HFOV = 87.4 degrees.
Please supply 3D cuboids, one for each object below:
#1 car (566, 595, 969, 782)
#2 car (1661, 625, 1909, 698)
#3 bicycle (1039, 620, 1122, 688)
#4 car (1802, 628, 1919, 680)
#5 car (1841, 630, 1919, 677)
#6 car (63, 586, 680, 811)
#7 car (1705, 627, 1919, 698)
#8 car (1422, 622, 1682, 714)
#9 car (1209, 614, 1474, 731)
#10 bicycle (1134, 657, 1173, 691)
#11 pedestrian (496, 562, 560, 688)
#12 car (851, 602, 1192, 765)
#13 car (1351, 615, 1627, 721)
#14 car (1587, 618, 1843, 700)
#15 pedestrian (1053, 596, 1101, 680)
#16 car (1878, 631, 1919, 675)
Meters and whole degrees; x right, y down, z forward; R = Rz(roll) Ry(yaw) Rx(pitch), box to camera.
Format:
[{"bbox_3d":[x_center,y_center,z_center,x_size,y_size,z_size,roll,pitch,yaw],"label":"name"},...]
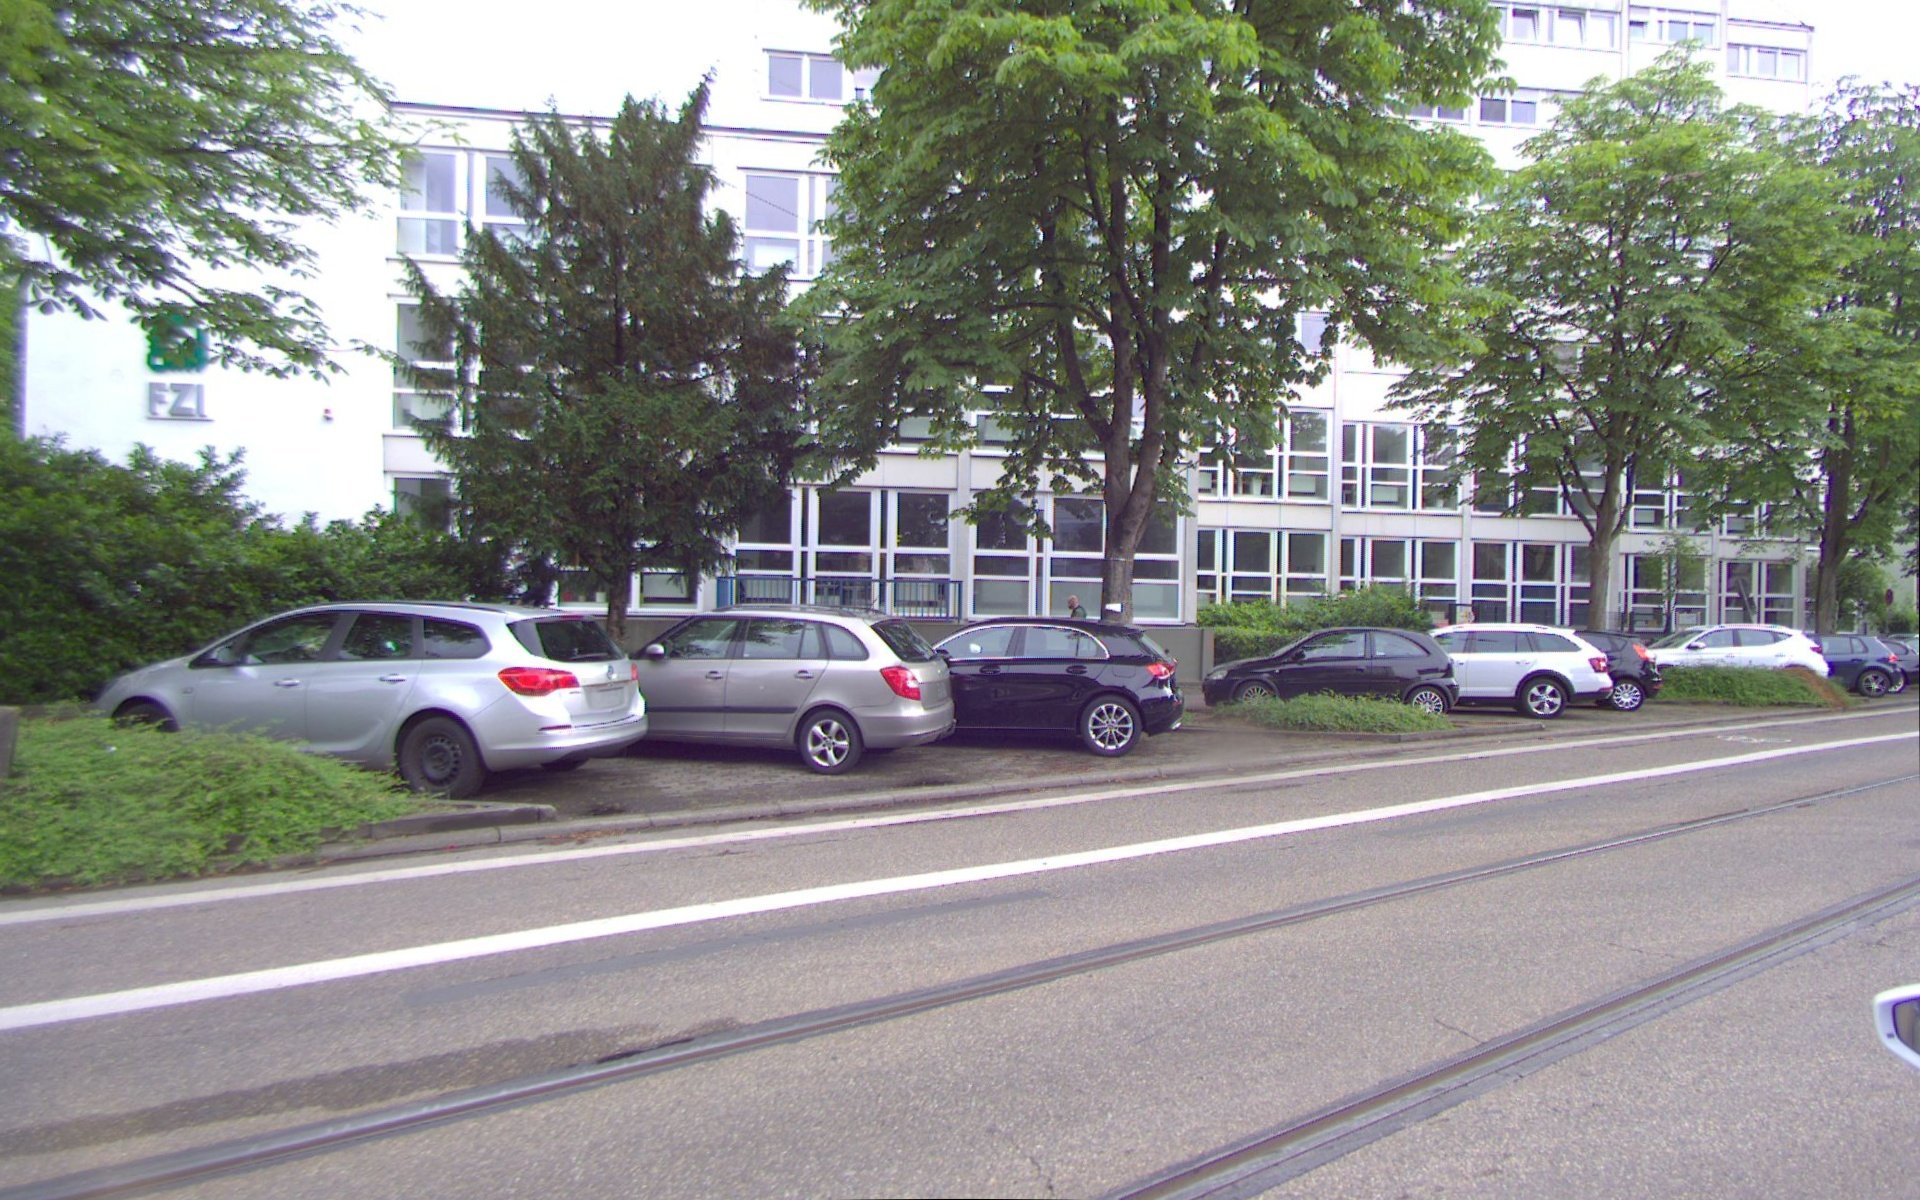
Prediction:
[{"bbox_3d":[-1.855,0.779,10.015,3.577,1.544,1.573,2,1,14],"label":"car"},{"bbox_3d":[19.693,1.443,24.178,4.258,1.473,1.701,2,0,13],"label":"car"},{"bbox_3d":[2.432,1.087,20.352,1.567,1.285,0.405,3,0,-9],"label":"bicycle"},{"bbox_3d":[27.634,1.603,29.653,3.888,1.370,1.701,2,0,13],"label":"car"},{"bbox_3d":[30.377,1.709,31.398,3.888,1.370,1.701,2,0,13],"label":"car"},{"bbox_3d":[-4.819,0.711,8.484,4.342,1.484,1.805,2,0,11],"label":"car"},{"bbox_3d":[22.261,1.586,26.131,4.258,1.556,1.701,2,1,13],"label":"car"},{"bbox_3d":[11.013,1.222,19.008,3.949,1.424,1.700,2,1,20],"label":"car"},{"bbox_3d":[5.779,1.058,15.654,3.631,1.544,1.701,2,1,14],"label":"car"},{"bbox_3d":[4.067,1.545,21.185,0.340,0.543,1.265,0,3,-11],"label":"bicycle"},{"bbox_3d":[-7.152,0.411,16.660,0.841,2.040,0.463,1,-1,-6],"label":"pedestrian"},{"bbox_3d":[0.771,0.857,11.526,3.631,1.544,1.701,2,1,14],"label":"car"},{"bbox_3d":[8.868,1.091,17.238,3.949,1.504,1.700,2,1,20],"label":"car"},{"bbox_3d":[16.852,1.282,22.624,4.258,1.577,1.701,2,0,9],"label":"car"},{"bbox_3d":[2.354,0.754,20.292,0.721,1.633,0.754,3,0,-9],"label":"pedestrian"},{"bbox_3d":[32.985,1.809,32.916,3.888,1.370,1.701,2,0,13],"label":"car"}]
